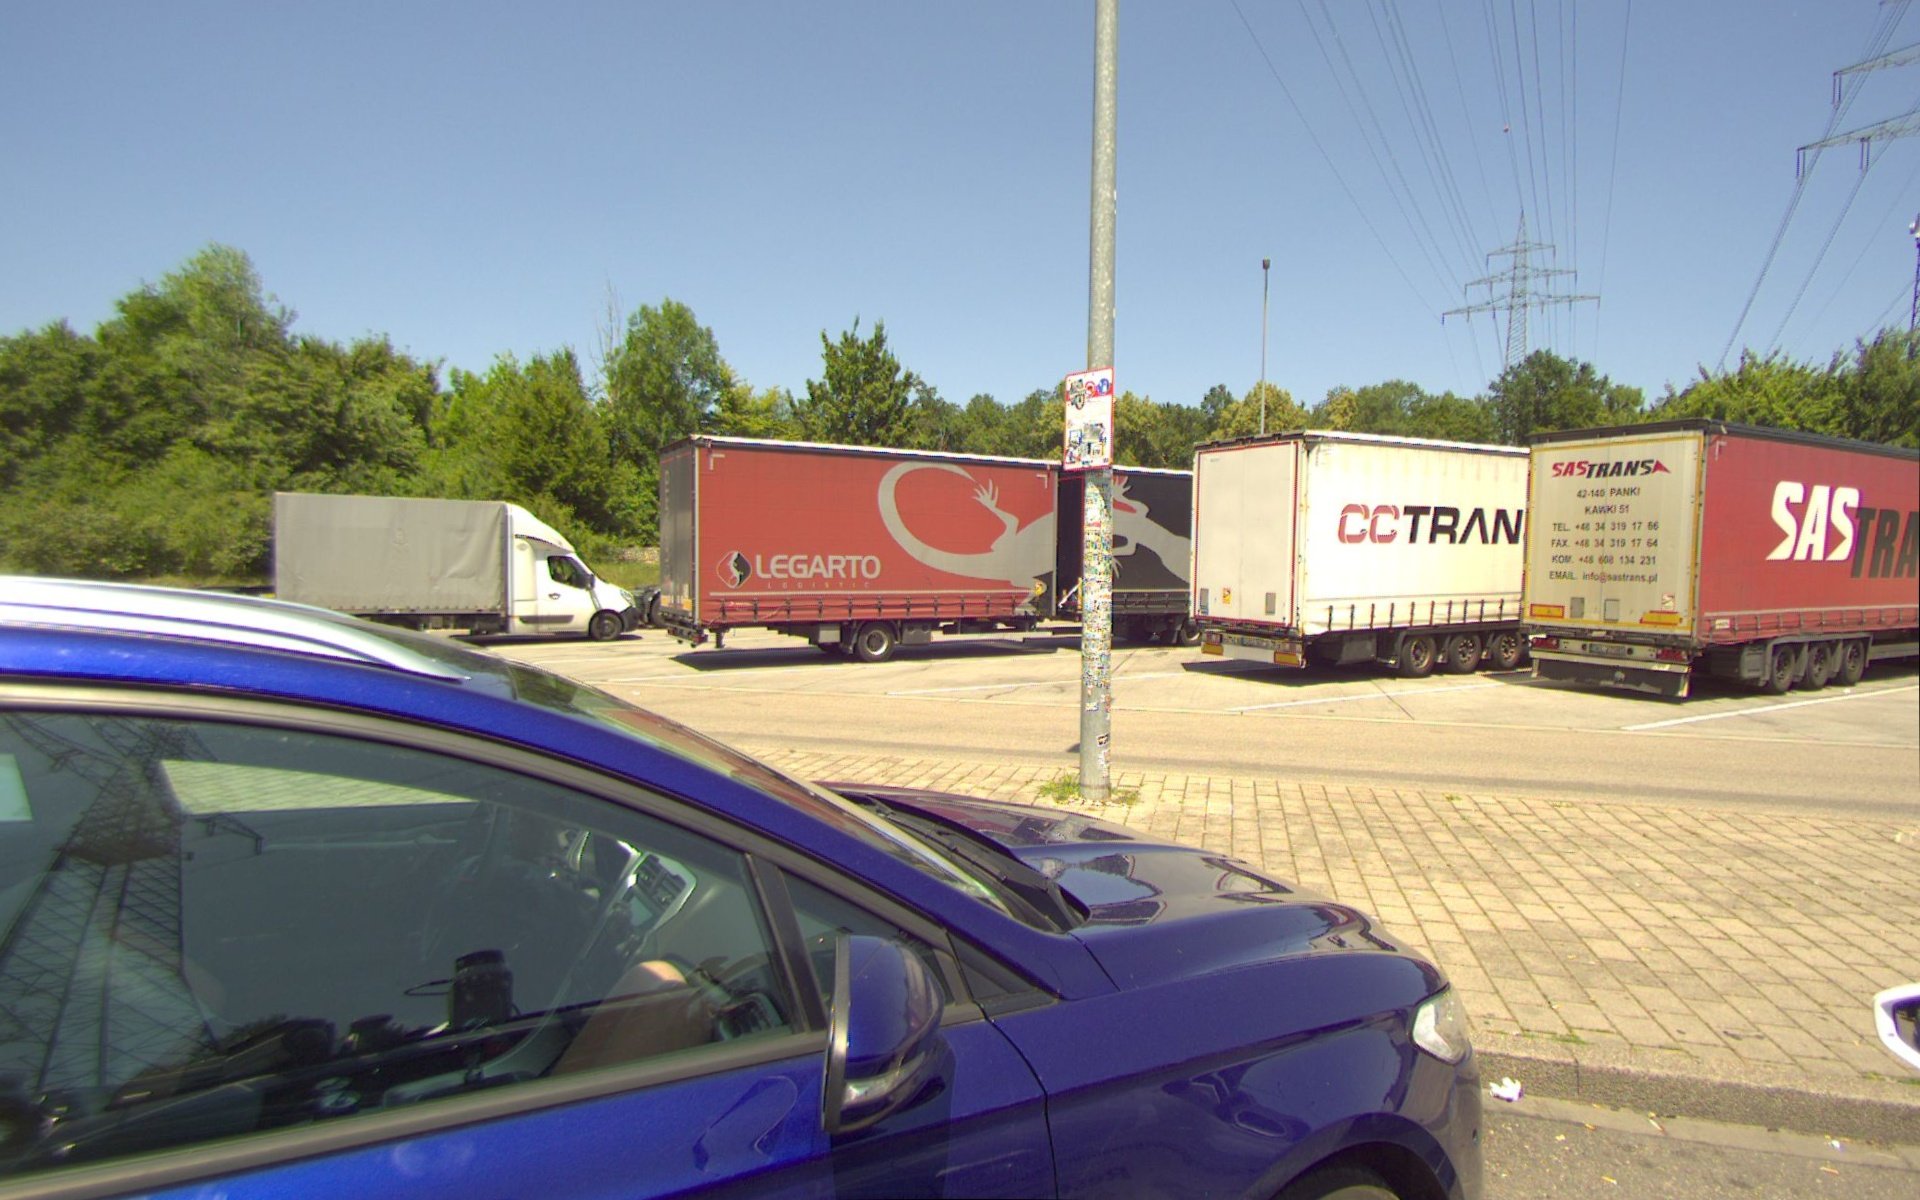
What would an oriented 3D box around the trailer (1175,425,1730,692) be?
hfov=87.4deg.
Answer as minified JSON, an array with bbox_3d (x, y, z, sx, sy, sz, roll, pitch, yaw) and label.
[{"bbox_3d":[10.595,-0.802,20.342,13.962,4.141,2.782,-1,3,-30],"label":"trailer"}]

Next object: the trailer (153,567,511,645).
[{"bbox_3d":[-15.157,0.055,24.898,7.204,1.711,2.249,-1,3,-29],"label":"trailer"}]

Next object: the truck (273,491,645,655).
[{"bbox_3d":[-11.182,-0.626,23.029,7.204,3.279,2.727,-1,3,-29],"label":"truck"}]

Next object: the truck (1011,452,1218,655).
[{"bbox_3d":[3.577,-1.068,23.455,3.947,4.298,2.723,-1,3,-30],"label":"truck"}]

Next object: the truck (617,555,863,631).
[{"bbox_3d":[-6.340,-0.230,29.279,6.733,2.041,1.987,-1,1,-26],"label":"truck"}]

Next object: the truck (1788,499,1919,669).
[{"bbox_3d":[21.217,-0.395,22.009,5.829,3.373,2.837,-1,3,-30],"label":"truck"}]

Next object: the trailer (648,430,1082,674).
[{"bbox_3d":[-1.735,-0.902,20.334,8.376,4.141,2.722,-1,3,-30],"label":"trailer"}]

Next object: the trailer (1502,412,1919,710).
[{"bbox_3d":[15.615,-0.695,18.731,13.962,4.141,2.777,-1,3,-30],"label":"trailer"}]

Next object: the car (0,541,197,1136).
[{"bbox_3d":[-4.603,0.596,2.231,4.444,1.520,1.762,0,2,-32],"label":"car"}]

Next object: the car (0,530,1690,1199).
[{"bbox_3d":[-1.027,0.674,1.498,4.444,1.511,1.859,0,2,-32],"label":"car"}]
